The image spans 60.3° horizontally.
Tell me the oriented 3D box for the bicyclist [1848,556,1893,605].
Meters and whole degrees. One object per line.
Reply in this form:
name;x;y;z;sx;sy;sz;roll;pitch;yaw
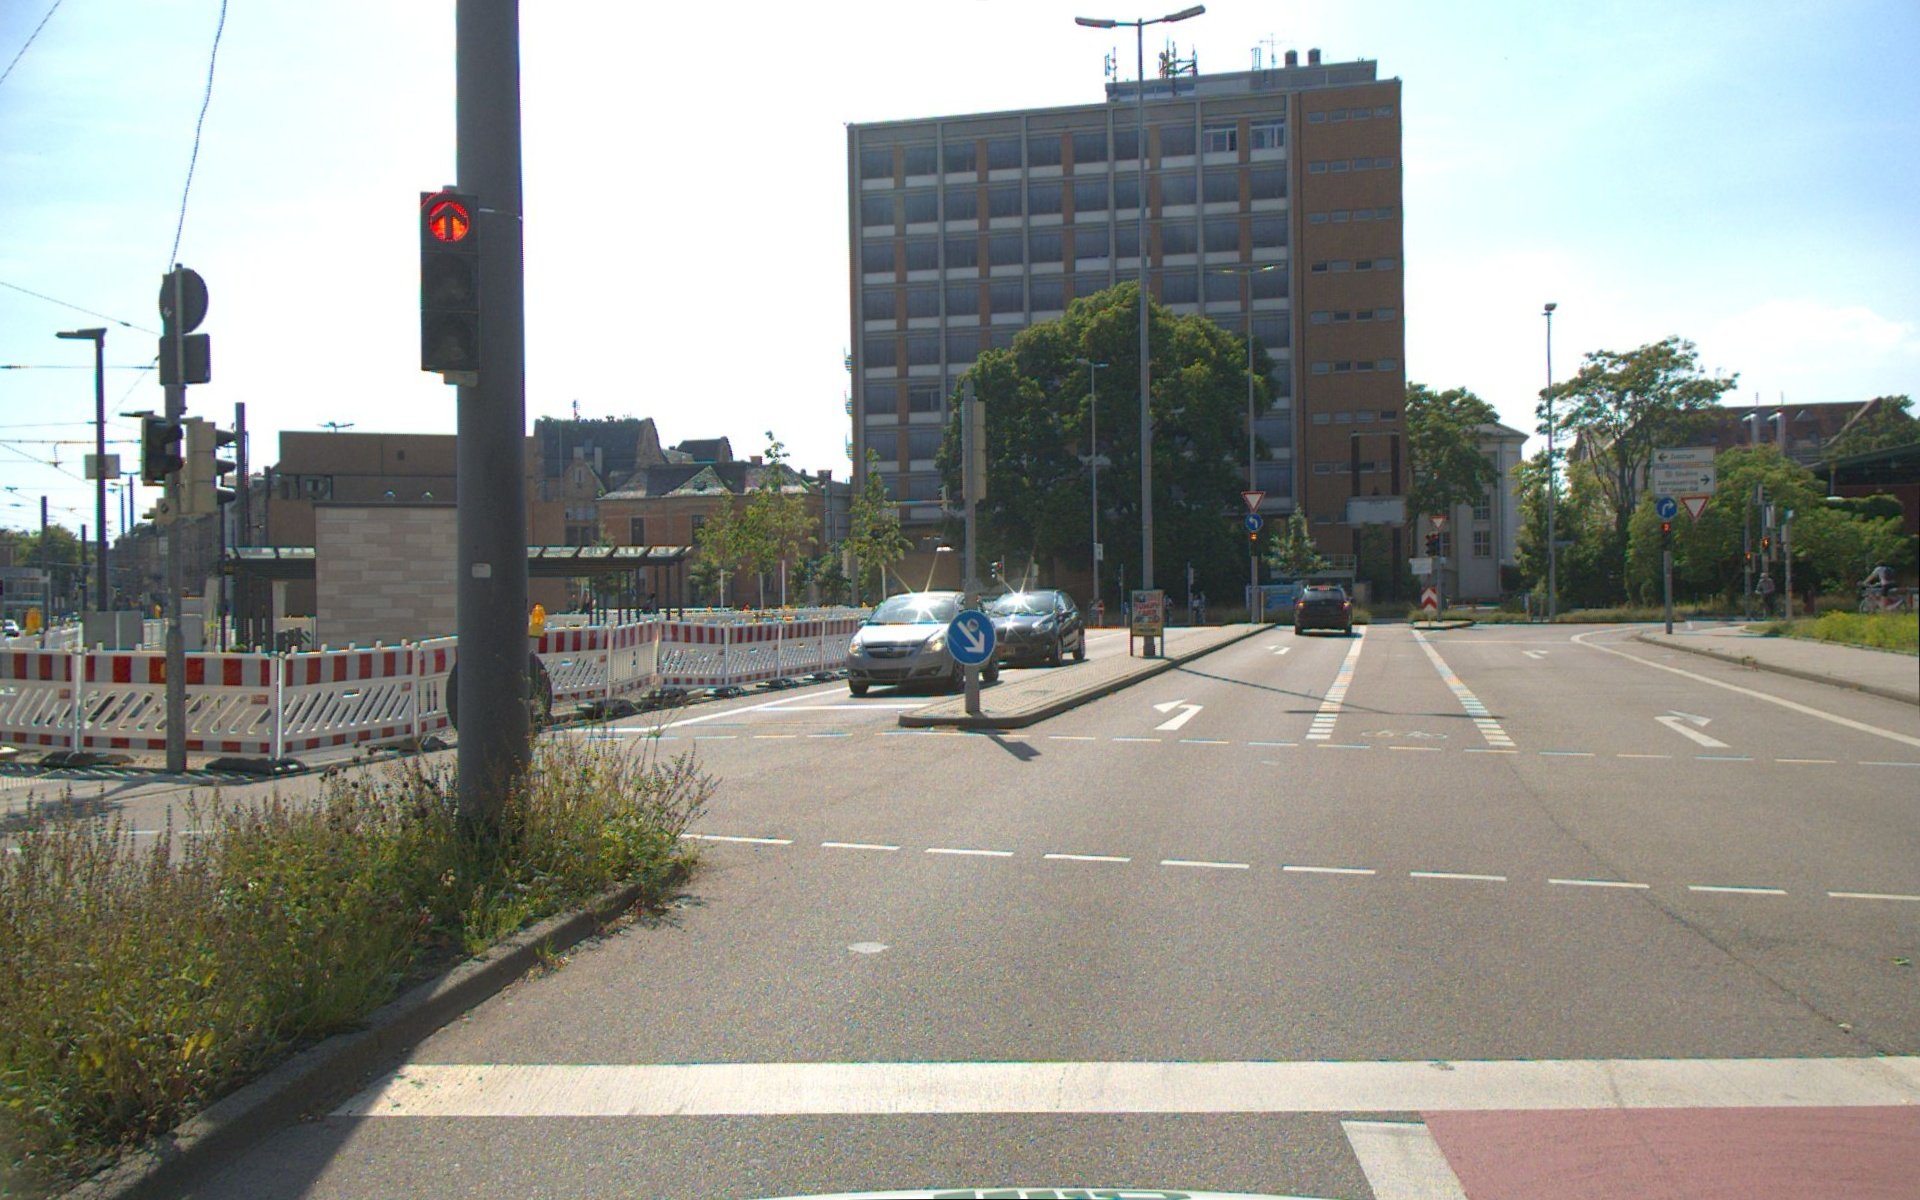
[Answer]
bicyclist;28.426;-0.599;51.644;0.489;1.496;1.132;1;-1;-28

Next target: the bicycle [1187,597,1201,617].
bicycle;12.499;0.371;88.231;0.605;0.977;1.970;-4;0;10

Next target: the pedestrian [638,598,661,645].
pedestrian;-10.259;0.695;54.678;0.618;1.518;0.616;-2;0;-2

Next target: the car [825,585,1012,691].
car;-0.539;0.526;25.376;1.756;1.436;4.003;-3;0;15

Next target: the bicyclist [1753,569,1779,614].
bicyclist;30.901;-0.332;63.399;0.663;1.684;0.919;-2;0;14

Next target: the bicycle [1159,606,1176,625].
bicycle;11.405;0.855;90.797;0.689;0.994;2.032;-2;0;12

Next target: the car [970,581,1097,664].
car;1.519;0.406;32.839;1.631;1.476;3.821;-3;0;16

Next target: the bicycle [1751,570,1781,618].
bicycle;30.918;-0.230;63.454;0.663;1.796;1.812;-2;0;14

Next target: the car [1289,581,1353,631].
car;11.094;0.160;50.637;1.742;1.468;3.821;1;1;15

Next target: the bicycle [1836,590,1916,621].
bicycle;28.532;0.187;51.537;0.665;0.932;2.149;-2;0;-28

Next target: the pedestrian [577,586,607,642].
pedestrian;-11.862;0.461;53.330;0.721;1.783;1.110;-2;-2;-1

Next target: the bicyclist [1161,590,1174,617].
bicyclist;11.358;0.179;90.585;0.528;1.441;1.031;-2;-1;13

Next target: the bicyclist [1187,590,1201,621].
bicyclist;12.493;0.272;88.232;0.605;1.609;1.015;-4;0;10
